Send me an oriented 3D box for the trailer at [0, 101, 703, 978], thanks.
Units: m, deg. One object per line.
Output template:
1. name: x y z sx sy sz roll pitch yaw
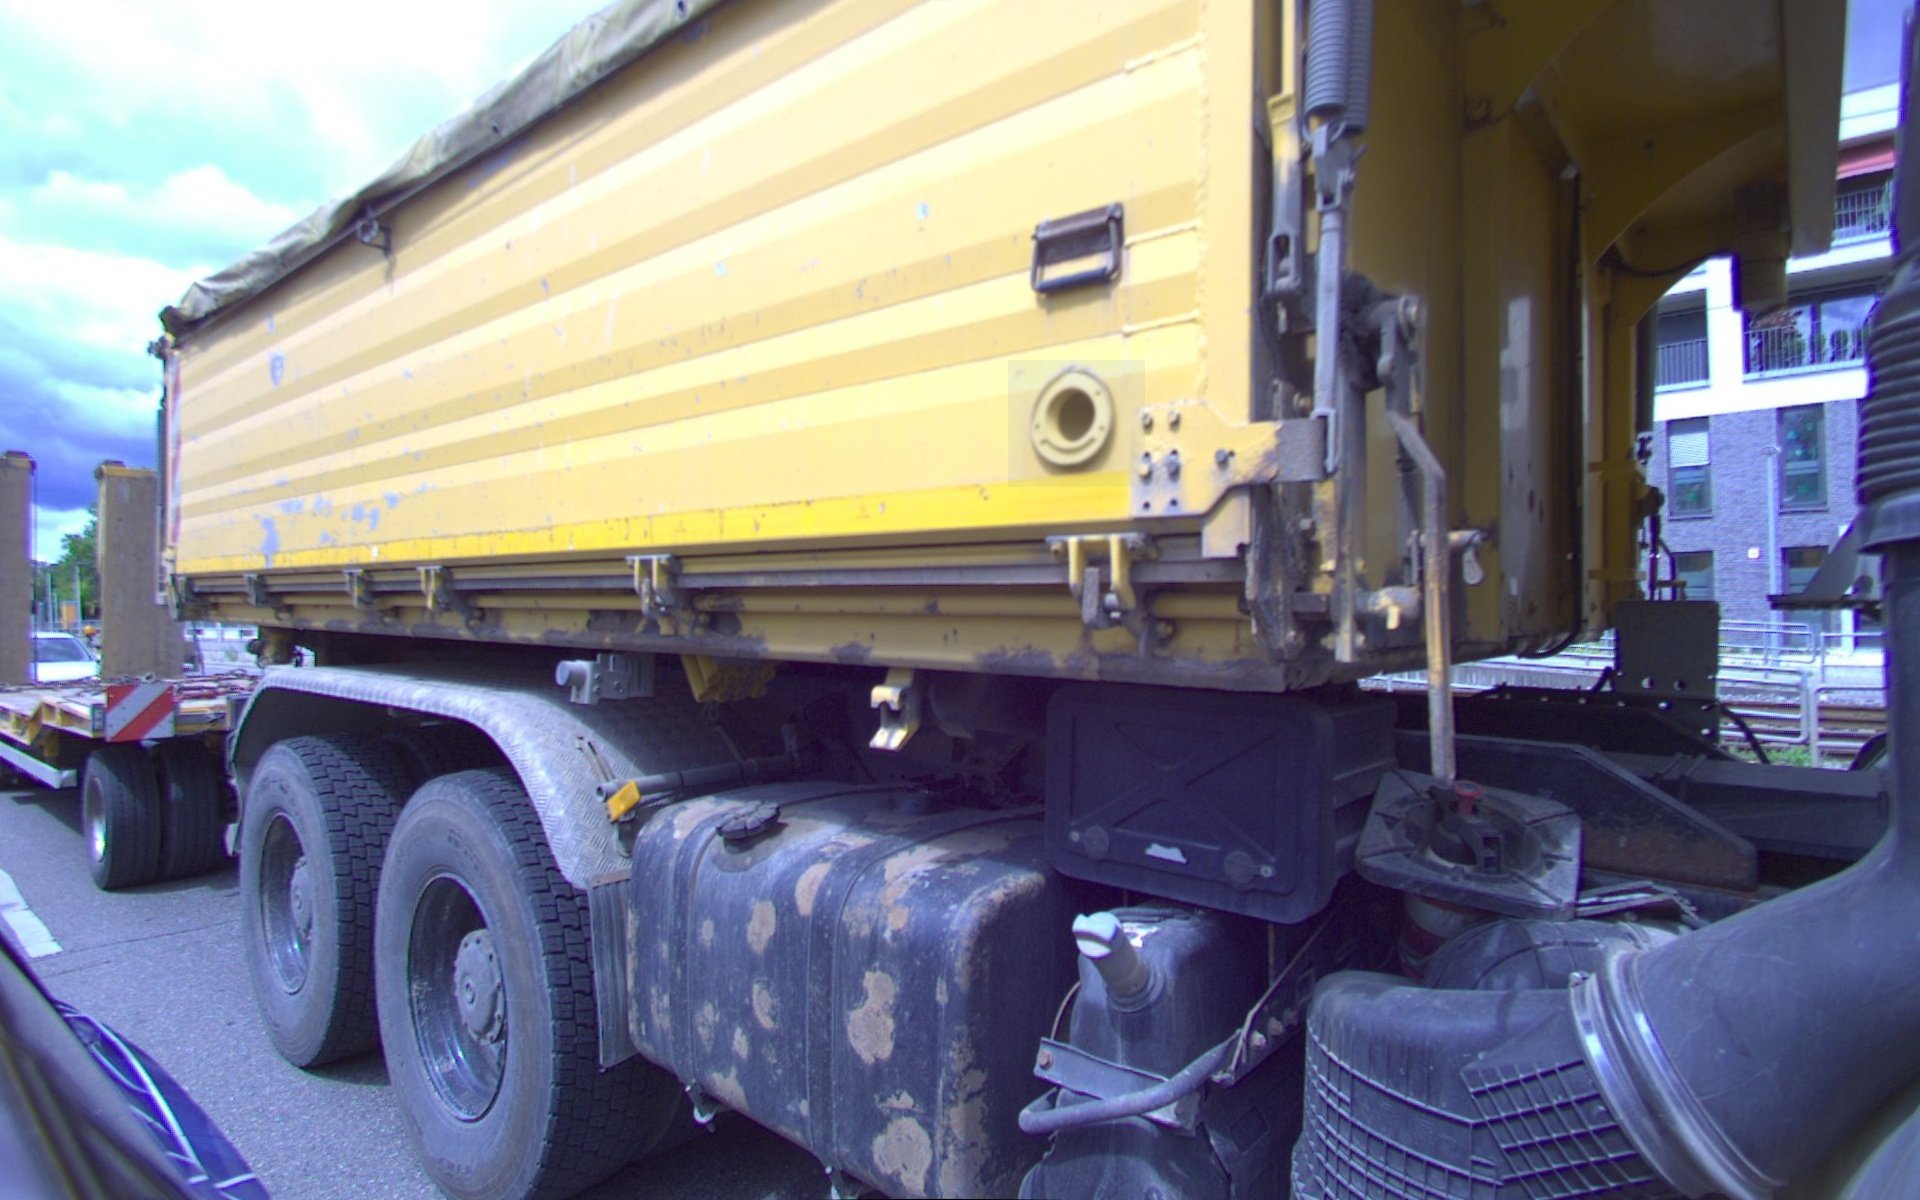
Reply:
1. trailer: -6.848 -0.138 9.011 10.957 3.726 3.018 -2 -1 40

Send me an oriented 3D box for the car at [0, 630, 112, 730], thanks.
1. car: -15.213 1.234 16.371 3.784 1.427 1.761 -2 -1 41

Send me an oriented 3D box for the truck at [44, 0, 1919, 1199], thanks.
1. truck: 0.140 -0.222 2.876 7.999 3.420 3.019 -2 -1 40
